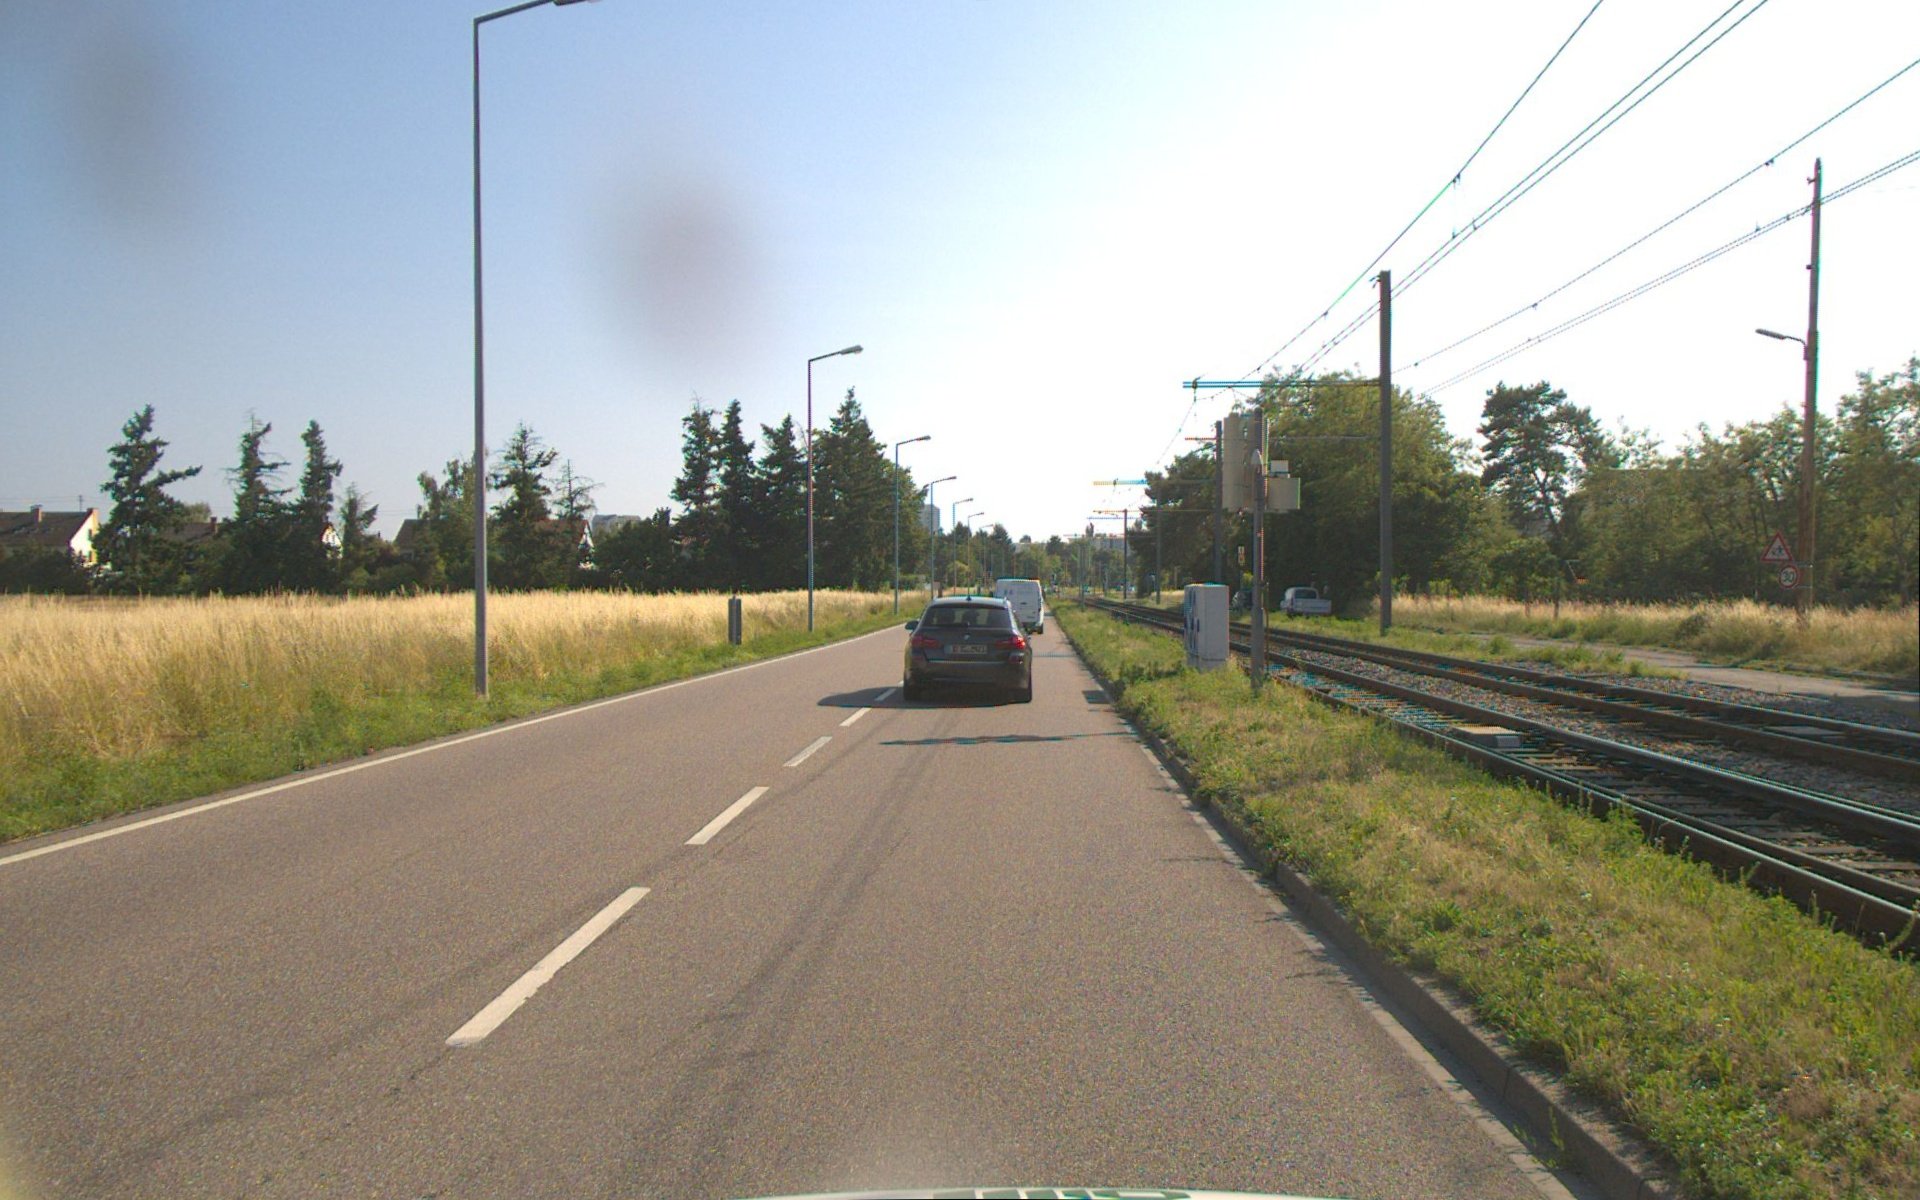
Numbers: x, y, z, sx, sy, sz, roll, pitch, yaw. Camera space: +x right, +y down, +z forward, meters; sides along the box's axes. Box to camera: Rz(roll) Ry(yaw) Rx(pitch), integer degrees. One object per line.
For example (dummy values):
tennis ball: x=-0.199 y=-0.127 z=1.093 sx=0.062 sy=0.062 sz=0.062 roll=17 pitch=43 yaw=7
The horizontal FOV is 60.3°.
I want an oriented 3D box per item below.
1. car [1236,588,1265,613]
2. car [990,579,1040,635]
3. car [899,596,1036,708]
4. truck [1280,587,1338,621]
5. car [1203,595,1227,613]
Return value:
car: x=21.174 y=0.071 z=120.600 sx=1.698 sy=1.709 sz=3.546 roll=1 pitch=-1 yaw=5
car: x=2.054 y=0.226 z=62.879 sx=1.819 sy=2.023 sz=5.109 roll=1 pitch=1 yaw=1
car: x=0.176 y=0.698 z=24.758 sx=1.830 sy=1.478 sz=4.745 roll=1 pitch=0 yaw=2
truck: x=19.472 y=0.214 z=92.514 sx=2.158 sy=1.851 sz=5.931 roll=0 pitch=0 yaw=2
car: x=21.332 y=0.360 z=138.597 sx=1.587 sy=1.423 sz=3.491 roll=2 pitch=-1 yaw=3
